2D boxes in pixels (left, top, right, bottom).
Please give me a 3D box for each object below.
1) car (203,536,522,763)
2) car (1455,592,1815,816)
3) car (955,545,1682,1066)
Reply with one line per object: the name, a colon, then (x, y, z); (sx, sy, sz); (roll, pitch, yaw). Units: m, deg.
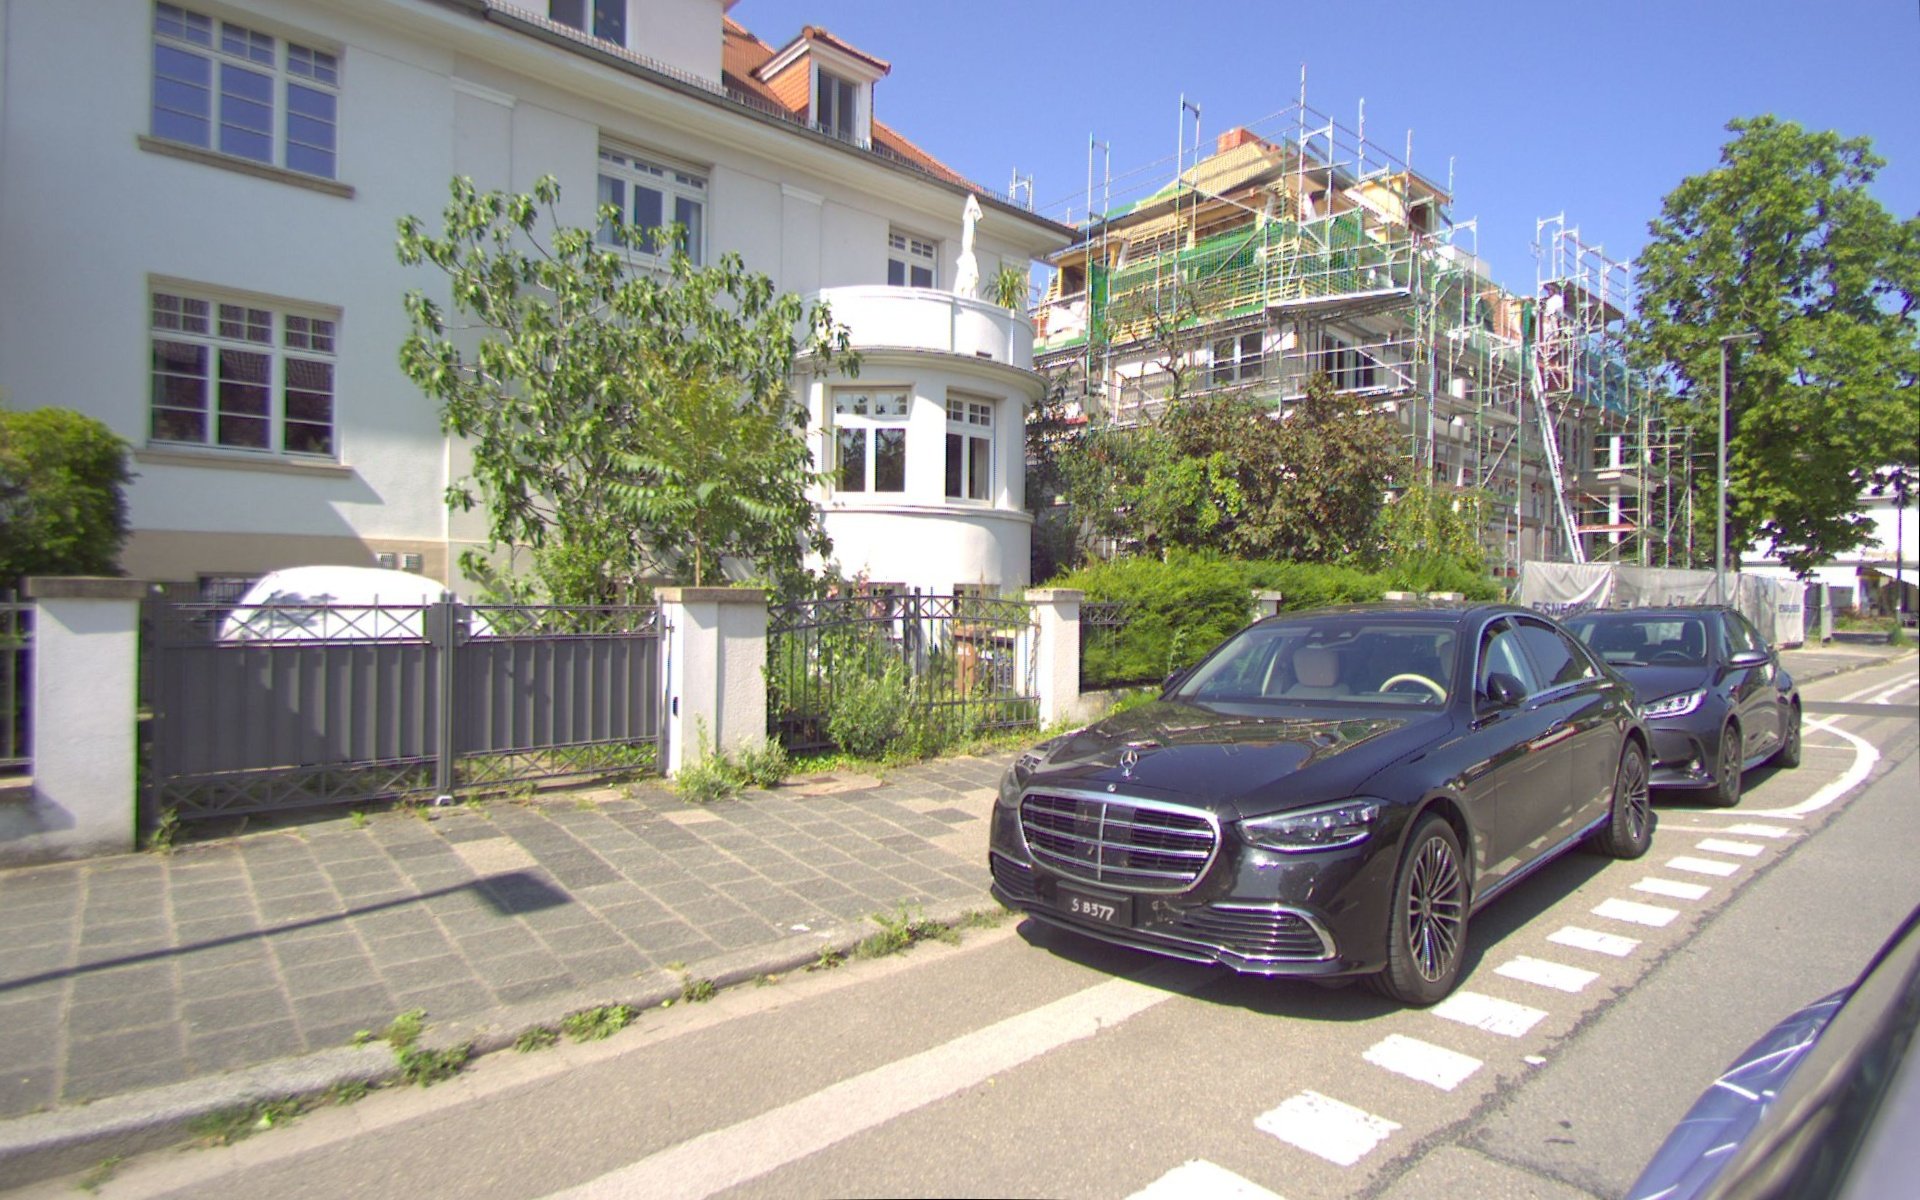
car: (-5.631, 0.400, 9.280); (1.673, 1.603, 4.165); (0, -2, -43)
car: (5.881, 0.712, 8.652); (3.722, 1.494, 1.659); (0, -2, -42)
car: (2.300, 0.645, 5.429); (4.820, 1.603, 1.697); (0, -2, -44)
